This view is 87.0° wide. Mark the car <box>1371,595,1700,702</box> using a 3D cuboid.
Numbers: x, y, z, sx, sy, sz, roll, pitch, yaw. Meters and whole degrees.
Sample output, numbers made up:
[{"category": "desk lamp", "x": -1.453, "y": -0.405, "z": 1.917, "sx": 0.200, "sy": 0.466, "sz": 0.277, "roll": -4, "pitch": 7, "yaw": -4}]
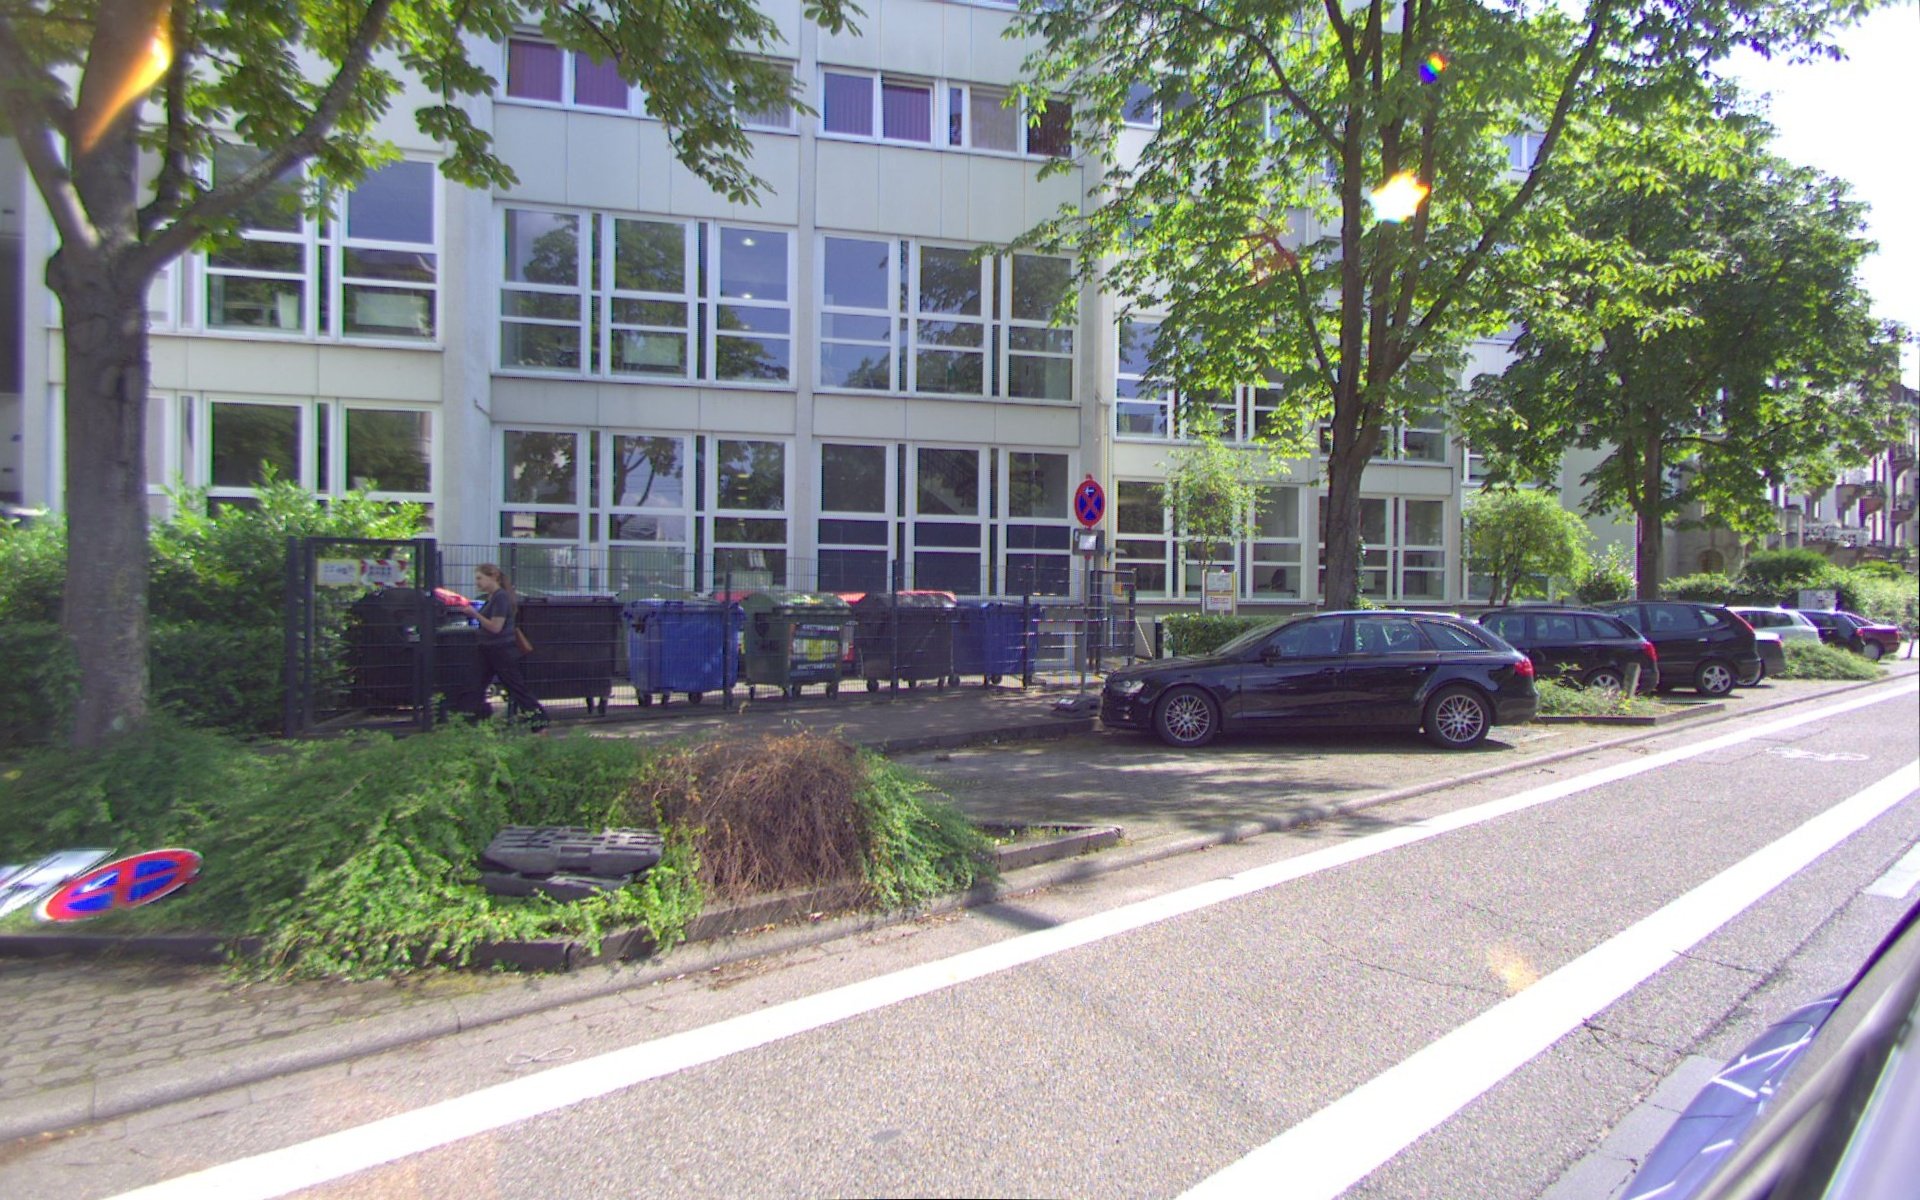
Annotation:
[{"category": "car", "x": 8.660, "y": 0.710, "z": 15.540, "sx": 4.006, "sy": 1.462, "sz": 1.722, "roll": 1, "pitch": -2, "yaw": 7}]

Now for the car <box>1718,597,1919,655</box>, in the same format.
[{"category": "car", "x": 23.573, "y": 0.685, "z": 27.690, "sx": 4.091, "sy": 1.441, "sz": 1.862, "roll": 1, "pitch": 1, "yaw": 9}]

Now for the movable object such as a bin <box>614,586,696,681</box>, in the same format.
[{"category": "movable object such as a bin", "x": -5.101, "y": 0.531, "z": 16.902, "sx": 1.237, "sy": 1.465, "sz": 1.383, "roll": 1, "pitch": 2, "yaw": -18}]

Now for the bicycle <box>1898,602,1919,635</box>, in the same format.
[{"category": "bicycle", "x": 33.692, "y": 0.649, "z": 35.911, "sx": 1.975, "sy": 1.122, "sz": 0.280, "roll": 0, "pitch": 4, "yaw": -40}]

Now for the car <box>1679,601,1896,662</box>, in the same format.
[{"category": "car", "x": 21.036, "y": 0.764, "z": 25.872, "sx": 3.934, "sy": 1.467, "sz": 1.695, "roll": 0, "pitch": 0, "yaw": 9}]

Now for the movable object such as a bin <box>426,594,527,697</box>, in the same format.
[{"category": "movable object such as a bin", "x": -6.948, "y": 0.627, "z": 14.618, "sx": 1.237, "sy": 1.355, "sz": 1.216, "roll": 1, "pitch": 2, "yaw": -24}]

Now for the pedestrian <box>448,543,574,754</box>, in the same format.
[{"category": "pedestrian", "x": -4.295, "y": 0.432, "z": 9.671, "sx": 0.983, "sy": 1.897, "sz": 0.763, "roll": 0, "pitch": 0, "yaw": -34}]

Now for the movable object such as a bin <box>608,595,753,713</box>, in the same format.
[{"category": "movable object such as a bin", "x": -3.495, "y": 0.633, "z": 12.637, "sx": 1.335, "sy": 1.353, "sz": 1.277, "roll": 0, "pitch": -1, "yaw": -41}]

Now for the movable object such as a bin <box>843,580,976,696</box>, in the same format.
[{"category": "movable object such as a bin", "x": -0.727, "y": 0.509, "z": 14.550, "sx": 1.443, "sy": 1.558, "sz": 1.278, "roll": 0, "pitch": 0, "yaw": -39}]

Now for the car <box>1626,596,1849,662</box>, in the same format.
[{"category": "car", "x": 18.304, "y": 0.657, "z": 23.961, "sx": 3.930, "sy": 1.479, "sz": 1.533, "roll": 0, "pitch": 0, "yaw": 6}]

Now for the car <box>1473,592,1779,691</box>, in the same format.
[{"category": "car", "x": 11.324, "y": 0.691, "z": 17.511, "sx": 3.934, "sy": 1.595, "sz": 1.900, "roll": -1, "pitch": -1, "yaw": 9}]

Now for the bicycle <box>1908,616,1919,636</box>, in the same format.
[{"category": "bicycle", "x": 35.126, "y": 0.938, "z": 37.120, "sx": 1.531, "sy": 0.685, "sz": 0.280, "roll": 0, "pitch": 4, "yaw": -40}]

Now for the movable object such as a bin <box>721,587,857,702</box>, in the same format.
[{"category": "movable object such as a bin", "x": -2.310, "y": 0.587, "z": 13.692, "sx": 1.274, "sy": 1.456, "sz": 1.331, "roll": -2, "pitch": -3, "yaw": 43}]

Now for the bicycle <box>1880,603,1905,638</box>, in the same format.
[{"category": "bicycle", "x": 31.043, "y": 0.672, "z": 33.691, "sx": 1.975, "sy": 1.122, "sz": 0.280, "roll": 0, "pitch": 4, "yaw": -40}]

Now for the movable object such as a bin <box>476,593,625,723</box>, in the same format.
[{"category": "movable object such as a bin", "x": -4.644, "y": 0.615, "z": 11.459, "sx": 1.215, "sy": 1.353, "sz": 1.277, "roll": 0, "pitch": -1, "yaw": -41}]

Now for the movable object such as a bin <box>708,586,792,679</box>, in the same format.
[{"category": "movable object such as a bin", "x": -3.598, "y": 0.532, "z": 17.220, "sx": 1.237, "sy": 1.465, "sz": 1.383, "roll": 1, "pitch": 2, "yaw": -18}]

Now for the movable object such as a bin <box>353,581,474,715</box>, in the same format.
[{"category": "movable object such as a bin", "x": -6.434, "y": 0.550, "z": 11.996, "sx": 0.918, "sy": 1.500, "sz": 1.270, "roll": 1, "pitch": -1, "yaw": -12}]

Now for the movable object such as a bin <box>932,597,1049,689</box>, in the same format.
[{"category": "movable object such as a bin", "x": 0.462, "y": 0.633, "z": 15.705, "sx": 1.302, "sy": 1.335, "sz": 1.278, "roll": 0, "pitch": 0, "yaw": -39}]

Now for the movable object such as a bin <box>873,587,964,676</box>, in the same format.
[{"category": "movable object such as a bin", "x": -0.757, "y": 0.525, "z": 17.906, "sx": 1.237, "sy": 1.465, "sz": 1.383, "roll": 1, "pitch": 2, "yaw": -18}]

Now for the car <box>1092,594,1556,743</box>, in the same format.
[{"category": "car", "x": 3.778, "y": 0.717, "z": 11.311, "sx": 4.457, "sy": 1.460, "sz": 2.028, "roll": -1, "pitch": -1, "yaw": 6}]

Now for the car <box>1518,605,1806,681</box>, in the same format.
[{"category": "car", "x": 13.387, "y": 0.800, "z": 19.549, "sx": 4.103, "sy": 1.366, "sz": 1.902, "roll": -1, "pitch": -1, "yaw": 6}]

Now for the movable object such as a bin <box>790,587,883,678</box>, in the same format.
[{"category": "movable object such as a bin", "x": -2.149, "y": 0.533, "z": 17.451, "sx": 1.422, "sy": 1.474, "sz": 1.212, "roll": -1, "pitch": 0, "yaw": -16}]
